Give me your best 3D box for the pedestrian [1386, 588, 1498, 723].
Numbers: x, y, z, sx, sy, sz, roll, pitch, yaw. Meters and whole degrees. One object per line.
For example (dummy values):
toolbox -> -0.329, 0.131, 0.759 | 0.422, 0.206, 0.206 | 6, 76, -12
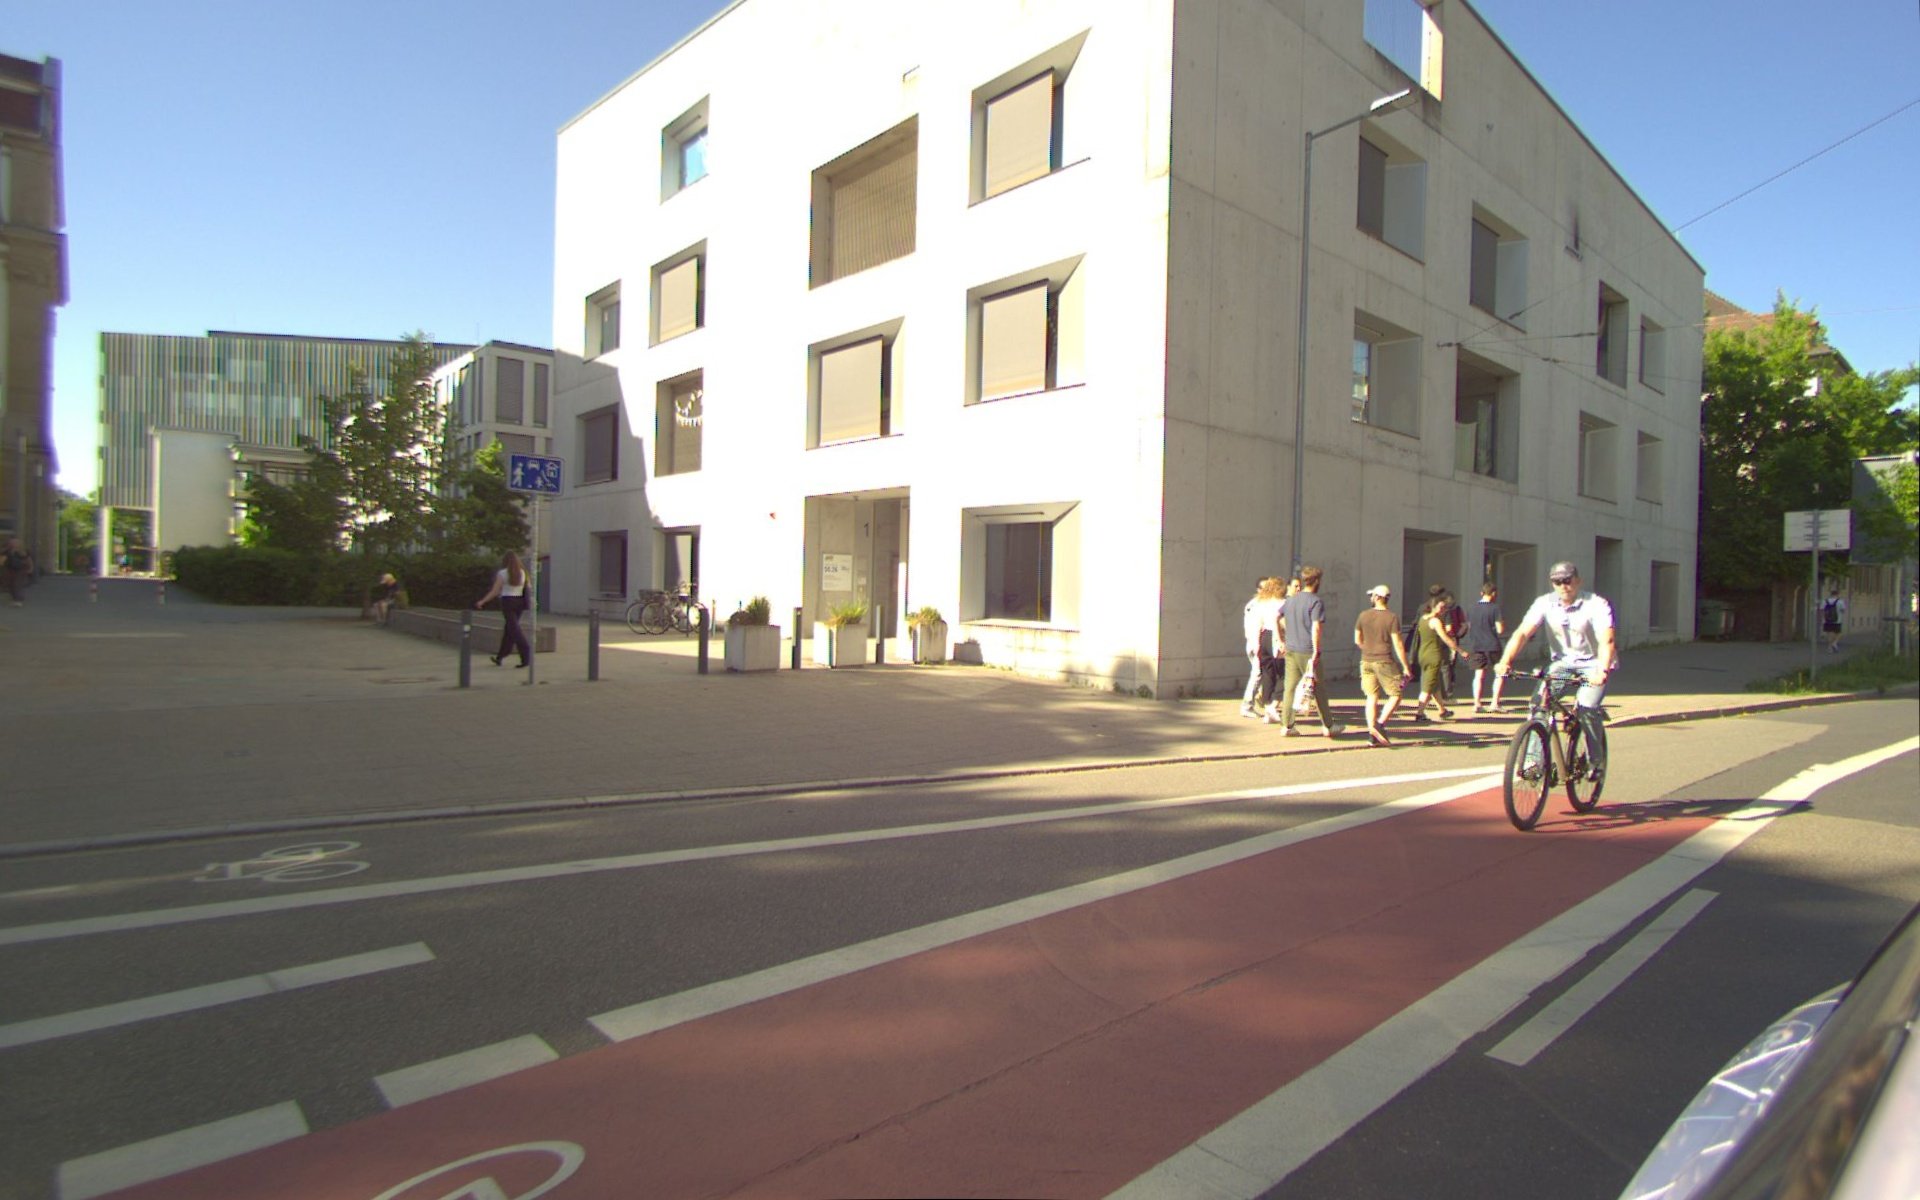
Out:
pedestrian -> 6.267, 0.697, 13.173 | 0.876, 1.623, 0.833 | 2, 5, -32

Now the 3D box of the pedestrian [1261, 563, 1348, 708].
pedestrian -> 4.559, 0.459, 13.408 | 0.717, 1.823, 0.660 | 1, 4, -34

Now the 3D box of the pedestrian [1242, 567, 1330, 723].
pedestrian -> 3.954, 0.530, 12.304 | 0.721, 1.795, 0.530 | 4, 4, -3

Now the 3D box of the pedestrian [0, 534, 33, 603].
pedestrian -> -22.611, -0.749, 24.175 | 0.632, 1.606, 0.926 | 1, 1, -40

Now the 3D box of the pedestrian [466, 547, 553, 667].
pedestrian -> -6.544, 0.072, 14.712 | 0.990, 1.660, 0.846 | 2, 3, 44

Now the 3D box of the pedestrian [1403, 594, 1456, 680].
pedestrian -> 8.042, 0.623, 17.332 | 0.751, 1.422, 0.519 | 1, 1, -39

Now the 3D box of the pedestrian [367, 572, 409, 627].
pedestrian -> -12.868, -0.016, 22.772 | 0.640, 1.207, 0.966 | 1, 1, -40

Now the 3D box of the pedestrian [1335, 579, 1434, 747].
pedestrian -> 4.749, 0.682, 11.329 | 0.704, 1.767, 0.609 | 1, 4, -34

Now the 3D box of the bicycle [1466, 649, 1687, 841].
bicycle -> 4.438, 0.944, 7.216 | 2.074, 1.108, 0.740 | 1, -1, -40

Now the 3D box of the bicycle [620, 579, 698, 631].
bicycle -> -6.612, 0.097, 22.285 | 1.563, 1.108, 0.498 | 0, 2, -38

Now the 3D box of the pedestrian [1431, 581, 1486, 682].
pedestrian -> 8.284, 0.511, 16.811 | 0.751, 1.620, 0.519 | 1, 1, -39

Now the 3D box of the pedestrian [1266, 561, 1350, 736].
pedestrian -> 3.989, 0.538, 11.612 | 0.600, 1.925, 0.521 | 1, 4, -34

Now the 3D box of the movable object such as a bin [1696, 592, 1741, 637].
movable object such as a bin -> 25.877, 0.476, 34.505 | 1.331, 1.481, 0.935 | 1, 1, -40

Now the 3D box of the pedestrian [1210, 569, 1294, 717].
pedestrian -> 3.726, 0.542, 12.943 | 0.639, 1.795, 0.614 | 3, 4, -20

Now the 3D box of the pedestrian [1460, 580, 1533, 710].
pedestrian -> 7.576, 0.624, 14.302 | 0.802, 1.748, 0.496 | 1, 5, -40

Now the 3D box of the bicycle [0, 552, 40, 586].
bicycle -> -30.739, -1.017, 32.744 | 1.362, 1.029, 0.471 | 2, 1, -40

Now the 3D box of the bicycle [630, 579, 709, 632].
bicycle -> -6.280, 0.107, 21.909 | 1.558, 1.108, 0.498 | 0, 1, -38

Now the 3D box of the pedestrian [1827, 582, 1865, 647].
pedestrian -> 26.366, 0.414, 30.127 | 0.939, 1.872, 0.685 | 1, 2, -43

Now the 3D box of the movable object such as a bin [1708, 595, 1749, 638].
movable object such as a bin -> 27.206, 0.566, 35.823 | 1.309, 1.481, 0.934 | 1, 1, -43

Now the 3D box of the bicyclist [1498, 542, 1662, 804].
bicyclist -> 4.406, 0.474, 7.192 | 0.954, 1.707, 0.740 | 1, -1, -40

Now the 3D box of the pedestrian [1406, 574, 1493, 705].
pedestrian -> 7.078, 0.548, 14.645 | 0.938, 1.783, 0.649 | 1, 5, -39

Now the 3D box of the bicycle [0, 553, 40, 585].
bicycle -> -32.185, -1.061, 34.356 | 1.362, 1.029, 0.471 | 2, 1, -40
